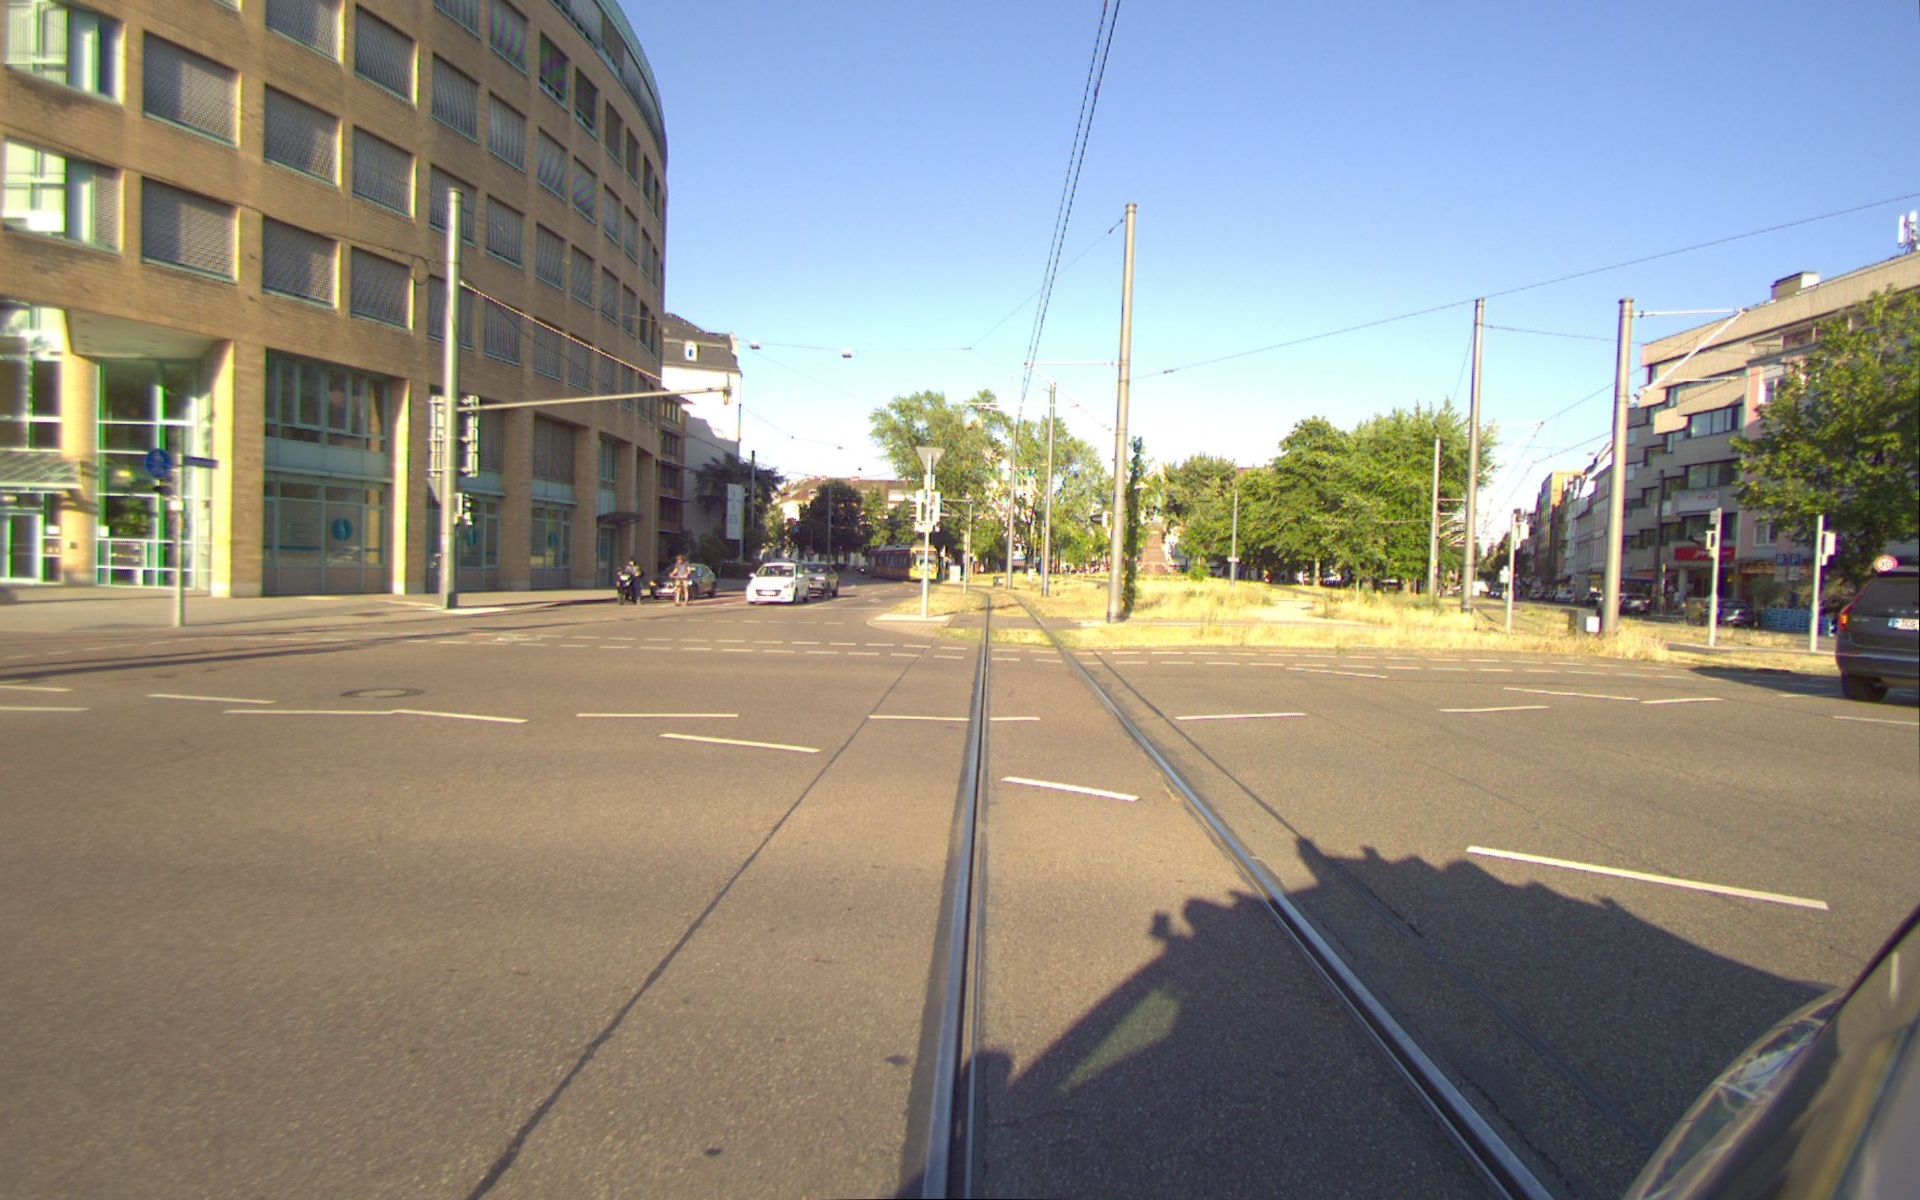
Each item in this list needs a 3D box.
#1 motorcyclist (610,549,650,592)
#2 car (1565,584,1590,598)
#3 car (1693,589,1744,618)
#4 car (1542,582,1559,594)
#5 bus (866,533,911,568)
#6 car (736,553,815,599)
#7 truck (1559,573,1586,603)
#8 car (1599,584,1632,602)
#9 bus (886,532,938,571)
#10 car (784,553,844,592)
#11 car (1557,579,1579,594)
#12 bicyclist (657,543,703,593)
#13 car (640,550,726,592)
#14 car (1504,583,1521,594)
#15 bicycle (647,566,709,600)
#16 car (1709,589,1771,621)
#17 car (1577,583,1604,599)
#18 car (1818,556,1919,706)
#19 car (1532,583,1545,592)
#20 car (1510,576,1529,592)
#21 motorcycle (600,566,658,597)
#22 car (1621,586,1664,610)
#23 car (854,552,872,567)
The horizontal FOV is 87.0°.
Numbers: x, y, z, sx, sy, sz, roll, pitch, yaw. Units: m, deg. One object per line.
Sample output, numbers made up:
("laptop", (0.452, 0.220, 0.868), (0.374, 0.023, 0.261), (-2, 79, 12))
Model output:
("motorcyclist", (-11.541, -1.044, 35.424), (1.013, 1.453, 1.068), (2, 2, 3))
("car", (66.641, -0.951, 109.256), (1.722, 1.401, 3.594), (3, 3, 24))
("car", (45.567, 0.167, 60.856), (1.624, 1.565, 3.606), (3, 2, 24))
("car", (87.148, -1.814, 149.350), (1.788, 1.614, 3.648), (3, 2, 24))
("bus", (-7.354, -4.943, 101.833), (2.303, 3.249, 11.108), (1, 2, -15))
("car", (-6.594, -0.914, 36.545), (1.958, 1.510, 4.176), (2, 2, 2))
("truck", (70.231, -1.459, 116.044), (1.722, 3.259, 6.355), (3, 2, 24))
("car", (54.889, -0.607, 84.799), (1.722, 1.401, 3.363), (3, 3, 24))
("bus", (-4.475, -4.374, 91.119), (2.360, 3.249, 11.146), (1, 2, -15))
("car", (-6.206, -1.205, 43.470), (1.787, 1.510, 4.063), (2, 2, 3))
("car", (73.290, -1.655, 122.057), (1.753, 1.723, 3.551), (3, 2, 24))
("bicyclist", (-9.339, -1.073, 33.813), (1.133, 1.591, 1.227), (2, 2, 2))
("car", (-11.184, -1.197, 41.204), (1.951, 1.556, 4.493), (2, 2, 4))
("car", (74.308, -1.552, 136.189), (1.660, 1.340, 3.746), (3, 3, 24))
("bicycle", (-9.379, -0.597, 33.783), (1.133, 1.012, 2.969), (2, 2, 2))
("car", (40.015, 0.222, 51.986), (1.624, 1.445, 3.606), (3, 3, 24))
("car", (60.571, -0.924, 97.245), (1.722, 1.401, 3.594), (3, 3, 24))
("car", (13.431, 0.360, 12.819), (4.927, 1.744, 2.004), (0, 3, -25))
("car", (90.215, -1.947, 157.831), (1.480, 1.391, 3.396), (3, 2, 24))
("car", (68.853, -1.994, 124.547), (1.632, 1.836, 3.460), (3, 2, 24))
("motorcycle", (-11.553, -0.660, 35.421), (1.013, 0.975, 2.726), (2, 2, 3))
("car", (50.546, -0.182, 75.065), (1.944, 1.575, 3.842), (3, 3, 24))
("car", (-12.591, -5.210, 131.185), (1.810, 1.839, 4.000), (2, 2, 1))
